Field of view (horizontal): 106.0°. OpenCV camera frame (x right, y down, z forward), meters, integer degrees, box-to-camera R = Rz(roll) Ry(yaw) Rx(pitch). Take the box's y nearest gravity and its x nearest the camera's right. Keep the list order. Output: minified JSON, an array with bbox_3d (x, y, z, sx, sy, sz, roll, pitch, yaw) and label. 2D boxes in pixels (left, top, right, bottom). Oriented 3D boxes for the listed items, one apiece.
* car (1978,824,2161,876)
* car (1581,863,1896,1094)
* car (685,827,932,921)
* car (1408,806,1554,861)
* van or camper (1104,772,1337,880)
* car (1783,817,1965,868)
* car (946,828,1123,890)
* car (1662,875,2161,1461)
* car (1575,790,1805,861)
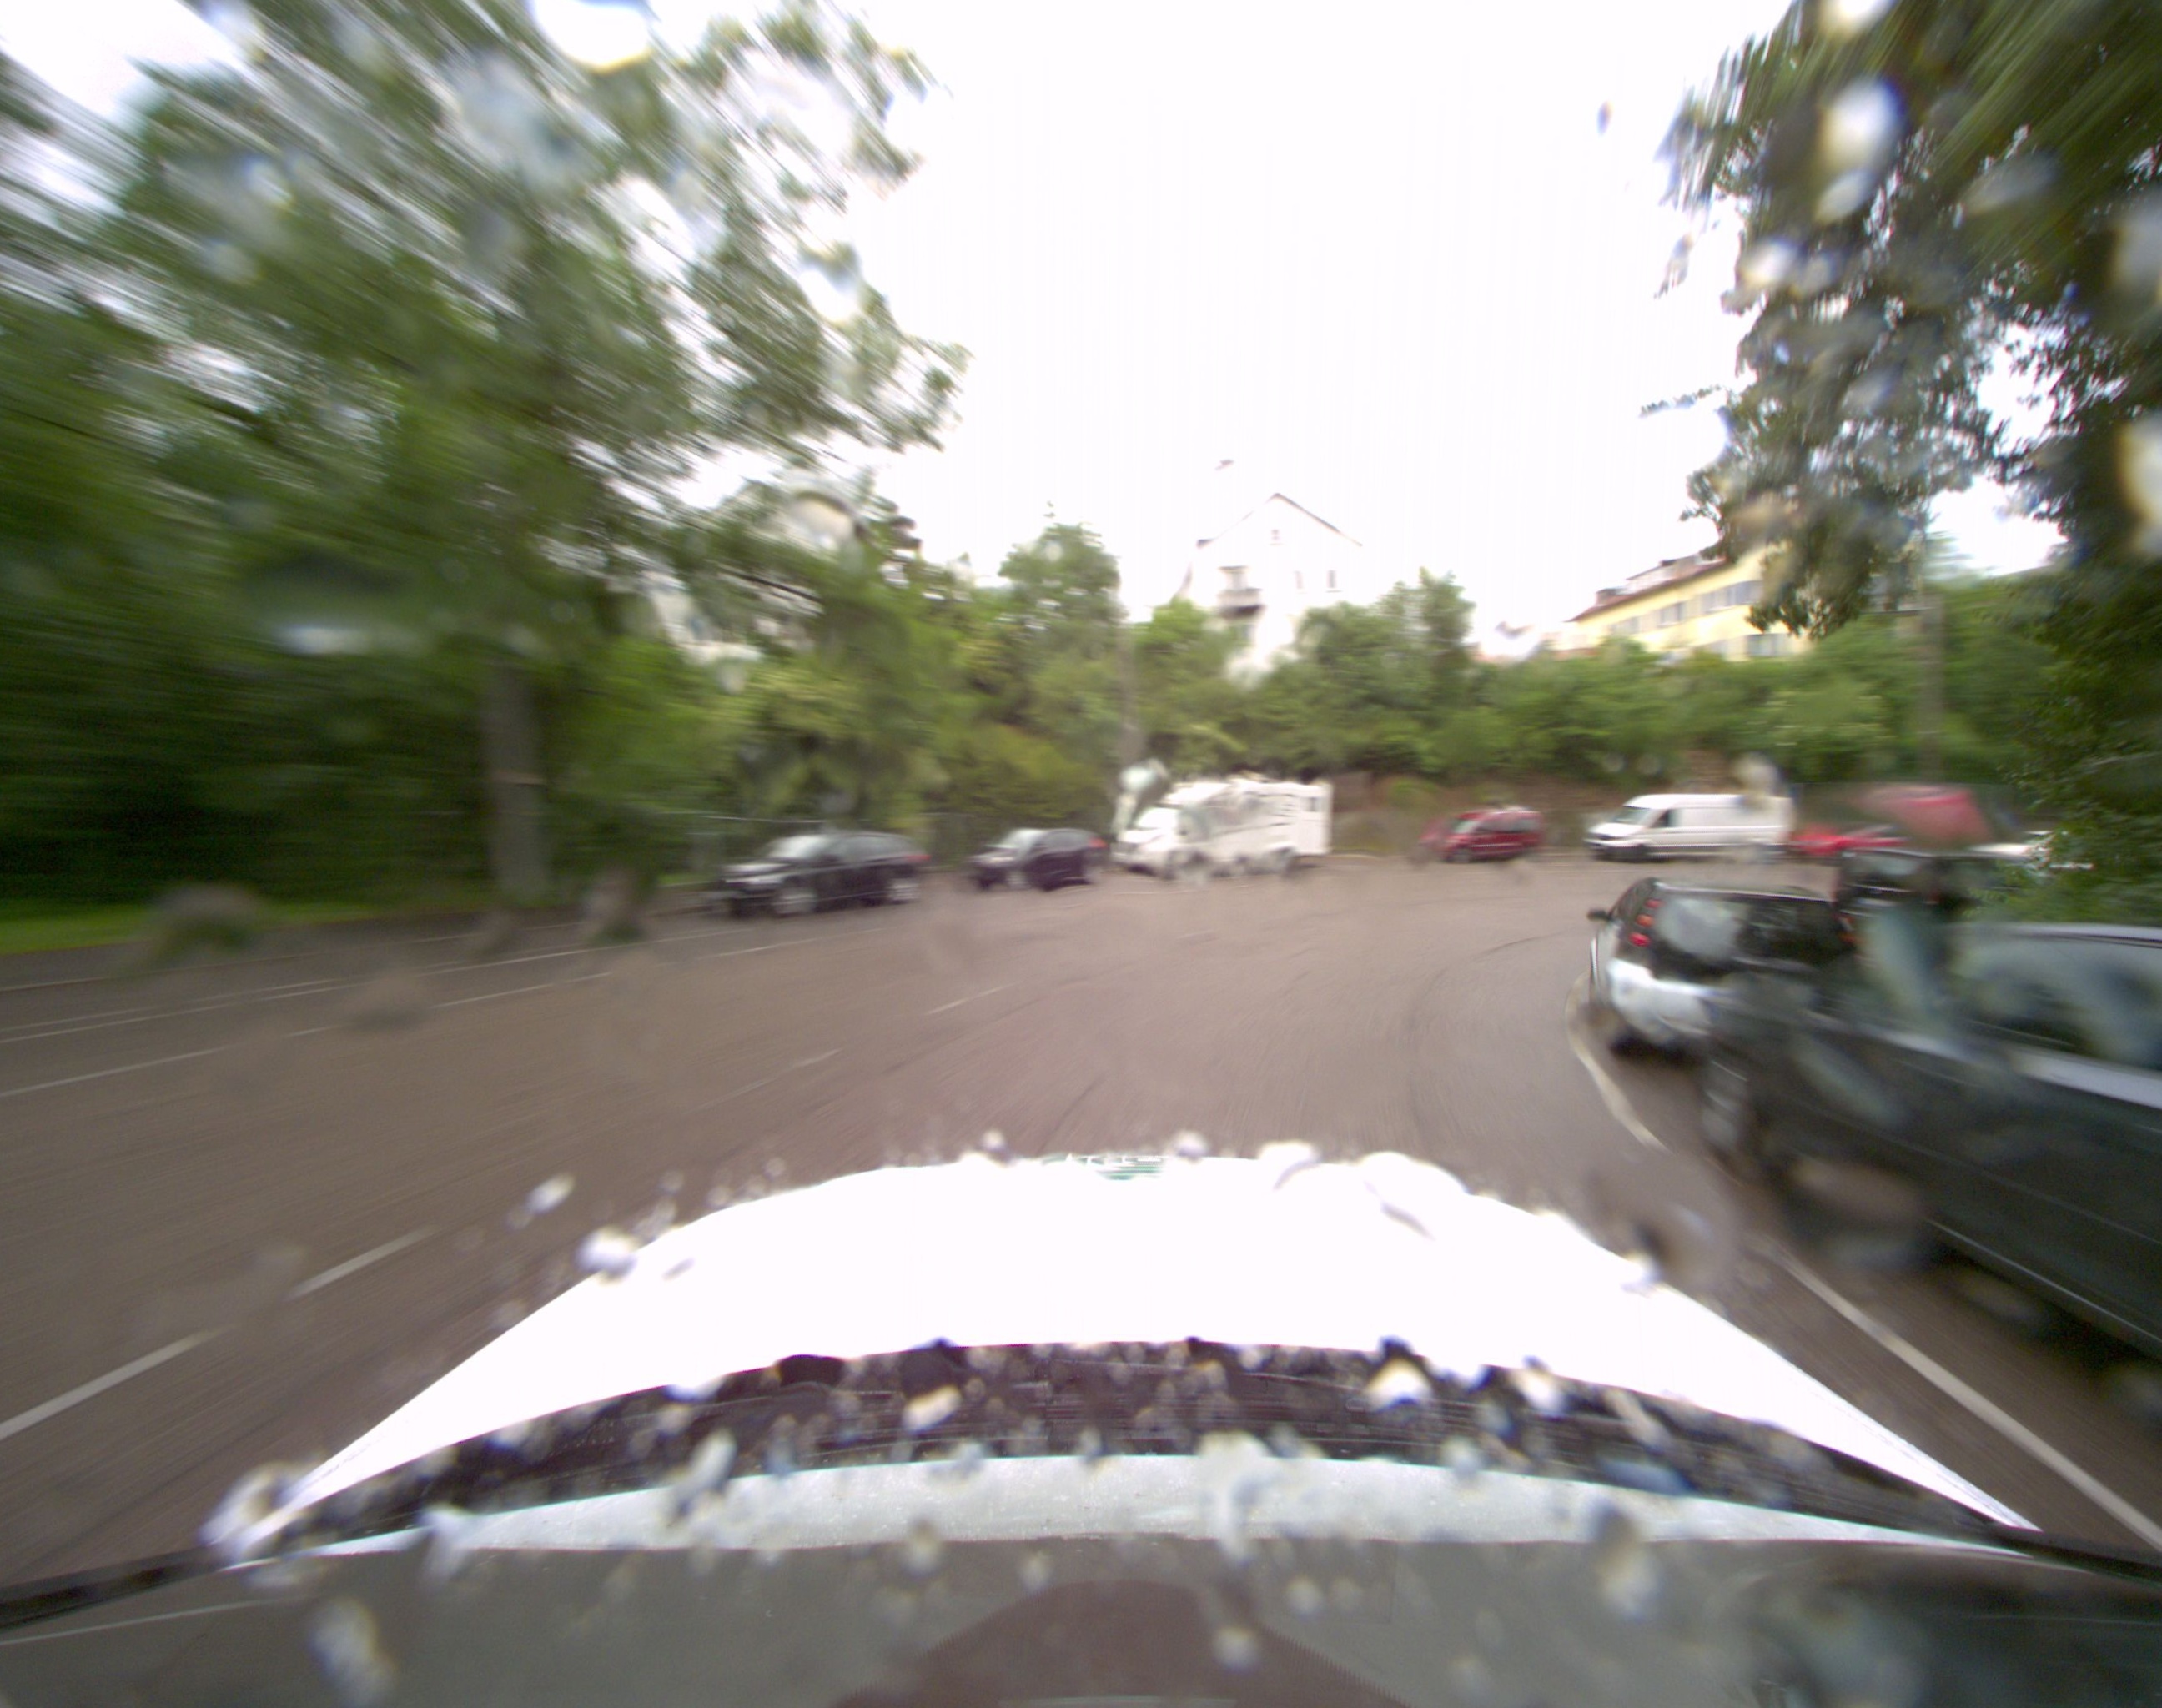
[{"bbox_3d":[35.680,-0.174,29.066,4.529,1.569,1.858,2,6,16],"label":"car"},{"bbox_3d":[5.750,0.877,7.615,1.669,1.407,3.752,2,2,30],"label":"car"},{"bbox_3d":[-5.006,0.253,15.595,1.761,1.465,4.341,3,3,32],"label":"car"},{"bbox_3d":[14.928,-0.785,30.425,4.919,1.887,1.785,0,4,-16],"label":"car"},{"bbox_3d":[4.470,-0.965,25.143,7.691,2.931,2.179,-2,5,-34],"label":"van or camper"},{"bbox_3d":[29.629,-0.467,30.608,4.533,1.664,1.856,2,5,12],"label":"car"},{"bbox_3d":[-1.089,0.051,20.647,4.337,1.355,1.738,-2,4,-43],"label":"car"},{"bbox_3d":[3.890,0.893,2.845,1.637,1.465,4.048,2,1,14],"label":"car"},{"bbox_3d":[23.361,-1.133,31.445,7.075,2.535,2.330,0,5,-1],"label":"car"}]
